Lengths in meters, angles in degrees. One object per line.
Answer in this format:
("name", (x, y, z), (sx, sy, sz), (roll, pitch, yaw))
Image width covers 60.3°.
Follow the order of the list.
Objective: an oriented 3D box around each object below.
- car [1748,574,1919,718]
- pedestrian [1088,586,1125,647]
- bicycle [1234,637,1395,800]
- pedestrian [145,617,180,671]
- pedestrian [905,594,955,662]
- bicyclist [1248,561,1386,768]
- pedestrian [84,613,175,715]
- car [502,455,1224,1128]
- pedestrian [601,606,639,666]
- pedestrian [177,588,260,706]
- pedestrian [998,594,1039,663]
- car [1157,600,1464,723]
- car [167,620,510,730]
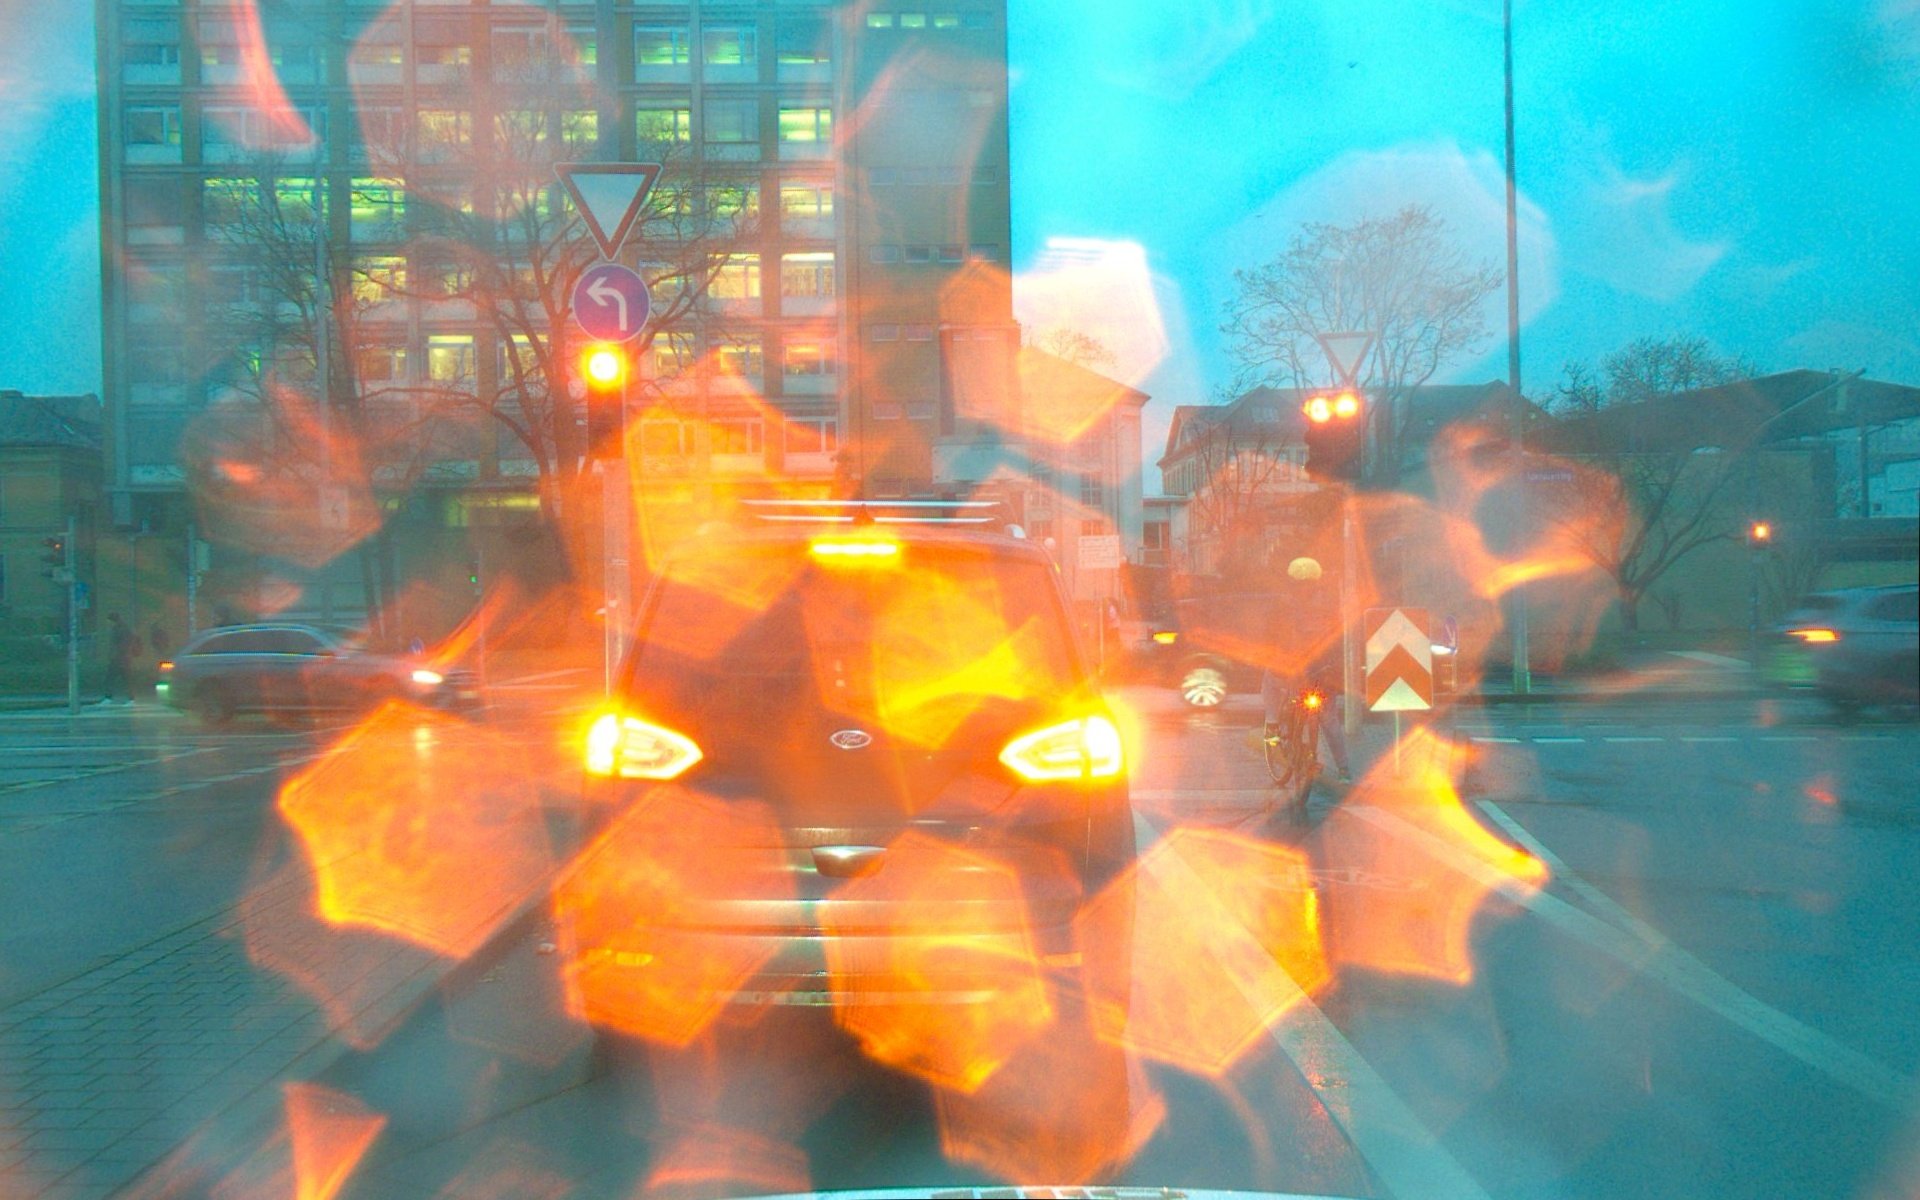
("car", (11.382, 0.454, 18.264), (4.480, 1.503, 1.813), (-2, -1, 9))
("pedestrian", (3.857, 0.434, 43.525), (0.905, 1.559, 1.043), (-2, 0, 4))
("bicycle", (2.648, 0.855, 12.568), (0.767, 1.094, 1.956), (1, 0, -1))
("pedestrian", (-25.272, 1.397, 52.413), (0.743, 1.656, 0.558), (-2, 0, 14))
("pedestrian", (-0.804, 0.746, 44.499), (1.111, 1.750, 0.982), (-2, 0, 10))
("bicyclist", (2.663, 0.467, 12.443), (0.767, 1.478, 1.133), (1, 0, -1))
("pedestrian", (-16.231, 1.236, 32.338), (0.981, 1.874, 1.138), (-2, 3, 26))
("car", (-0.289, 0.537, 6.541), (1.953, 1.821, 3.999), (1, 0, -1))
("pedestrian", (-9.601, 1.012, 46.701), (0.744, 1.656, 0.722), (-2, 0, 19))
("pedestrian", (-13.102, 0.820, 29.245), (0.908, 2.013, 0.960), (-2, 0, 5))
("pedestrian", (1.602, 0.763, 45.230), (0.975, 1.831, 0.920), (-2, 0, 8))
("car", (4.649, 0.813, 22.402), (3.871, 1.503, 1.812), (-2, -1, 6))
("car", (-9.341, 1.118, 24.986), (4.556, 1.503, 1.813), (-2, -1, 12))
